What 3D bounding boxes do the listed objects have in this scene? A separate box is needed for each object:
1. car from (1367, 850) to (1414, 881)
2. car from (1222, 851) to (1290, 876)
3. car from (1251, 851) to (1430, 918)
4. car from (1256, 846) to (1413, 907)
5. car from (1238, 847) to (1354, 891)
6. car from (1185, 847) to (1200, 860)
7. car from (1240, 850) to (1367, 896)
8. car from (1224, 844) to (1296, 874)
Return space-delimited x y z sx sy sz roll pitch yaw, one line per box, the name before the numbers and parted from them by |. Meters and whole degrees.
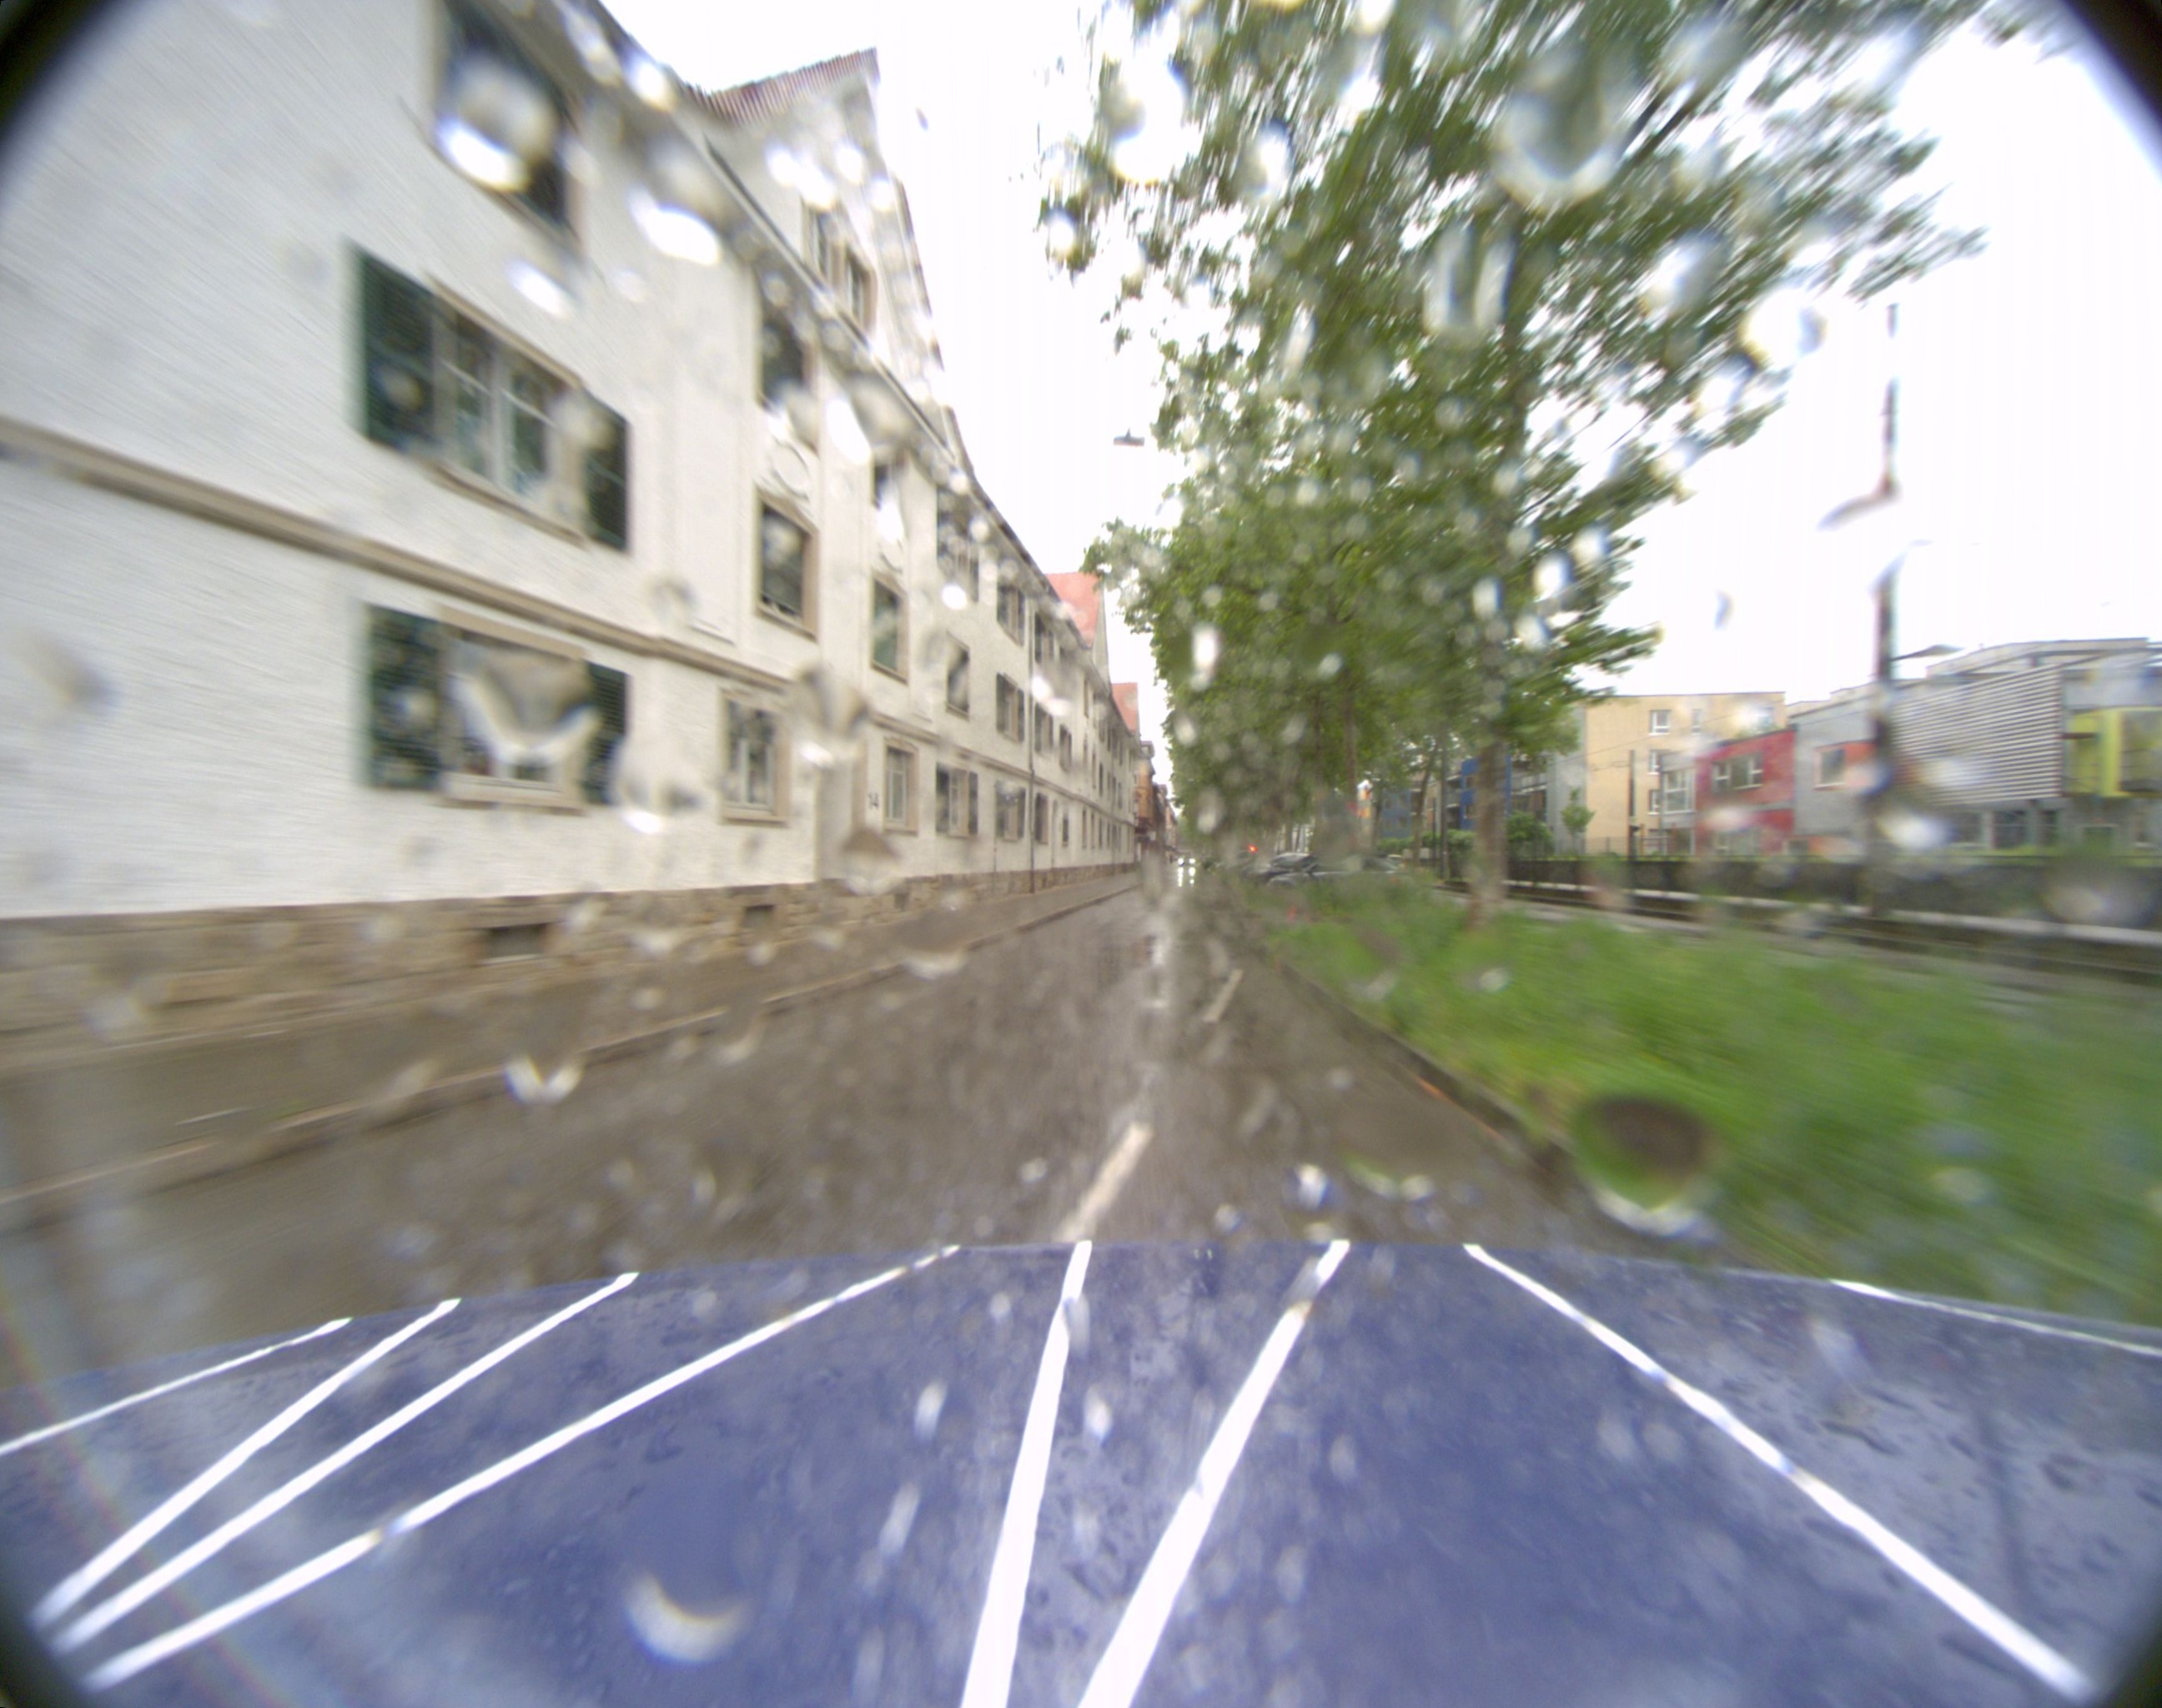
car | 18.598 0.674 45.844 1.690 1.714 3.693 2 1 8
car | 11.446 0.588 49.719 3.988 1.477 1.663 3 2 31
car | 7.130 0.757 21.074 4.217 1.532 1.935 3 2 39
car | 7.814 0.641 23.619 4.217 1.601 1.752 3 2 39
car | 9.058 0.577 32.097 4.320 1.603 1.752 3 2 34
car | 14.957 -0.072 101.956 1.849 1.587 4.219 1 1 11
car | 8.520 0.676 29.371 4.320 1.499 1.752 3 2 41
car | 13.517 0.354 57.509 4.877 2.002 2.004 3 2 39
